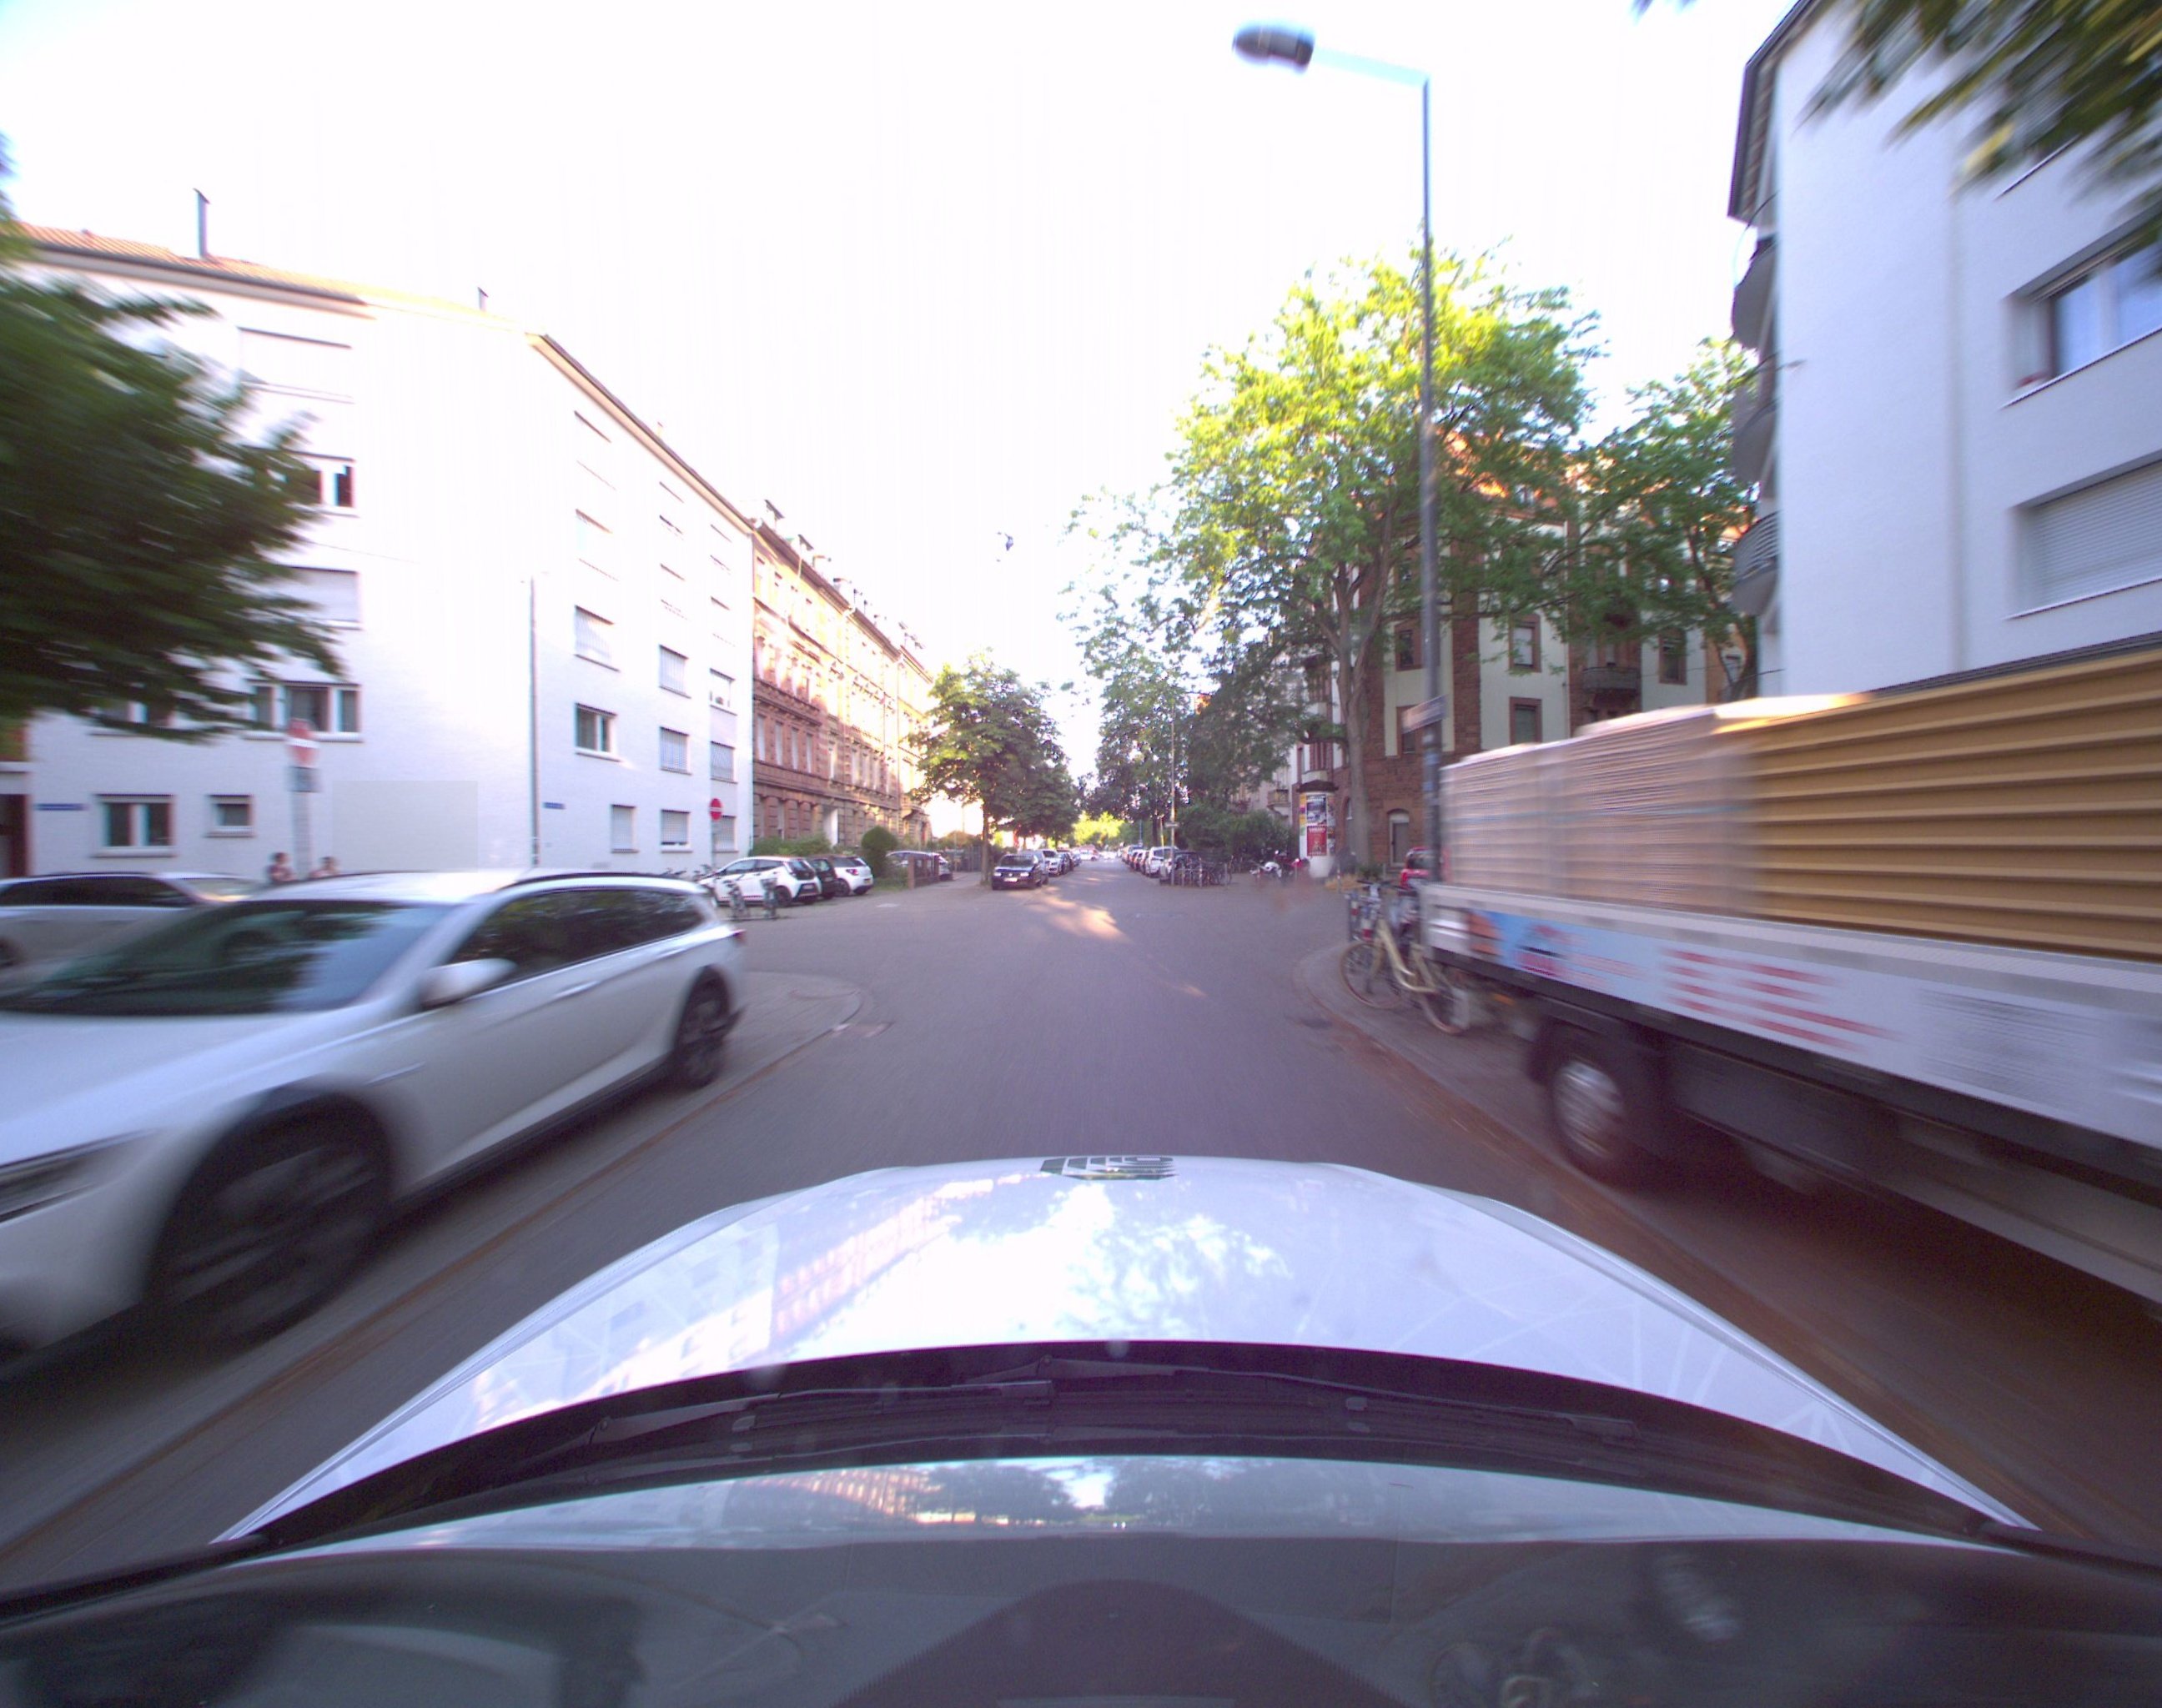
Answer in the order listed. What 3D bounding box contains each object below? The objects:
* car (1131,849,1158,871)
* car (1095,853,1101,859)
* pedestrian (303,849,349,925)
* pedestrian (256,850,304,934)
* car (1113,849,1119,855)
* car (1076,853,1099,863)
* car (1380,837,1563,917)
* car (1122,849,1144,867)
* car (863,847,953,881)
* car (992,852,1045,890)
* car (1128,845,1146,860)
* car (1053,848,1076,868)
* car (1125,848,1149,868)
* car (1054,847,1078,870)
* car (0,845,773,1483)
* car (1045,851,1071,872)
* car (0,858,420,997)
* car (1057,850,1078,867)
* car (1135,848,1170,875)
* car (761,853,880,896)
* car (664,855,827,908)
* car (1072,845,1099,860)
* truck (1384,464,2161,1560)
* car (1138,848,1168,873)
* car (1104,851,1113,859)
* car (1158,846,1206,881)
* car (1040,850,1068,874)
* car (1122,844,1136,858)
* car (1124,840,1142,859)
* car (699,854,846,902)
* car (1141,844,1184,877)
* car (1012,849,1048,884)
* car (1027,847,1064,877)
[{"bbox_3d":[4.668,0.422,60.172,1.680,1.441,4.211,-3,0,1],"label":"car"},{"bbox_3d":[4.802,0.562,228.086,1.709,1.596,3.484,0,0,2],"label":"car"},{"bbox_3d":[-17.156,0.731,18.516,0.536,1.682,0.579,0,3,-18],"label":"pedestrian"},{"bbox_3d":[-17.463,0.807,17.768,0.502,1.764,0.619,0,3,-20],"label":"pedestrian"},{"bbox_3d":[9.857,-0.532,227.648,1.709,1.596,3.484,0,0,2],"label":"car"},{"bbox_3d":[1.059,0.657,128.427,3.609,1.461,1.605,0,0,-3],"label":"car"},{"bbox_3d":[8.568,0.444,17.906,3.476,1.573,1.617,-2,1,-18],"label":"car"},{"bbox_3d":[4.594,0.353,72.429,1.682,1.606,3.938,0,0,-1],"label":"car"},{"bbox_3d":[-8.696,0.496,41.114,4.079,1.527,1.709,2,0,0],"label":"car"},{"bbox_3d":[-2.556,0.654,33.972,1.609,1.470,3.966,0,0,4],"label":"car"},{"bbox_3d":[5.778,-0.180,84.456,1.534,1.521,3.430,0,0,-1],"label":"car"},{"bbox_3d":[-1.381,0.326,70.657,1.709,1.596,4.521,0,0,2],"label":"car"},{"bbox_3d":[4.630,0.352,68.254,1.682,1.606,3.938,0,0,-1],"label":"car"},{"bbox_3d":[-1.212,0.356,65.569,1.709,1.790,4.217,0,0,2],"label":"car"},{"bbox_3d":[-3.388,0.730,4.132,1.683,1.502,4.740,2,1,2],"label":"car"},{"bbox_3d":[-1.724,0.538,61.270,1.709,1.566,3.789,0,0,2],"label":"car"},{"bbox_3d":[-11.922,0.903,10.909,4.450,1.552,1.704,-1,1,-9],"label":"car"},{"bbox_3d":[-1.216,0.407,75.649,1.709,1.465,3.988,0,0,2],"label":"car"},{"bbox_3d":[4.351,0.438,50.089,1.682,1.606,4.208,0,0,-1],"label":"car"},{"bbox_3d":[-9.192,0.707,28.905,3.541,1.447,1.823,0,1,10],"label":"car"},{"bbox_3d":[-9.779,0.769,23.848,4.067,1.447,1.714,0,1,10],"label":"car"},{"bbox_3d":[0.686,-0.276,130.978,4.336,2.318,1.745,0,0,0],"label":"car"},{"bbox_3d":[3.187,0.316,2.438,1.971,2.244,6.774,-1,0,0],"label":"truck"},{"bbox_3d":[4.805,0.446,54.724,1.682,1.606,3.747,0,0,-1],"label":"car"},{"bbox_3d":[5.578,0.222,167.250,1.806,1.596,3.484,0,0,2],"label":"car"},{"bbox_3d":[4.786,0.428,38.970,1.682,1.592,3.655,-1,0,-2],"label":"car"},{"bbox_3d":[-1.795,0.559,55.147,1.709,1.566,3.782,0,0,2],"label":"car"},{"bbox_3d":[6.403,-0.406,109.182,1.682,1.811,3.938,0,0,-1],"label":"car"},{"bbox_3d":[5.621,-0.489,88.445,1.675,1.941,3.879,0,0,-1],"label":"car"},{"bbox_3d":[-9.912,0.738,26.281,4.065,1.447,1.823,0,1,11],"label":"car"},{"bbox_3d":[4.426,0.349,44.906,1.793,1.711,4.599,-1,0,-1],"label":"car"},{"bbox_3d":[-2.386,0.554,38.879,1.591,1.603,3.742,0,0,-2],"label":"car"},{"bbox_3d":[-2.134,0.467,50.031,1.914,1.717,4.429,0,0,2],"label":"car"}]
